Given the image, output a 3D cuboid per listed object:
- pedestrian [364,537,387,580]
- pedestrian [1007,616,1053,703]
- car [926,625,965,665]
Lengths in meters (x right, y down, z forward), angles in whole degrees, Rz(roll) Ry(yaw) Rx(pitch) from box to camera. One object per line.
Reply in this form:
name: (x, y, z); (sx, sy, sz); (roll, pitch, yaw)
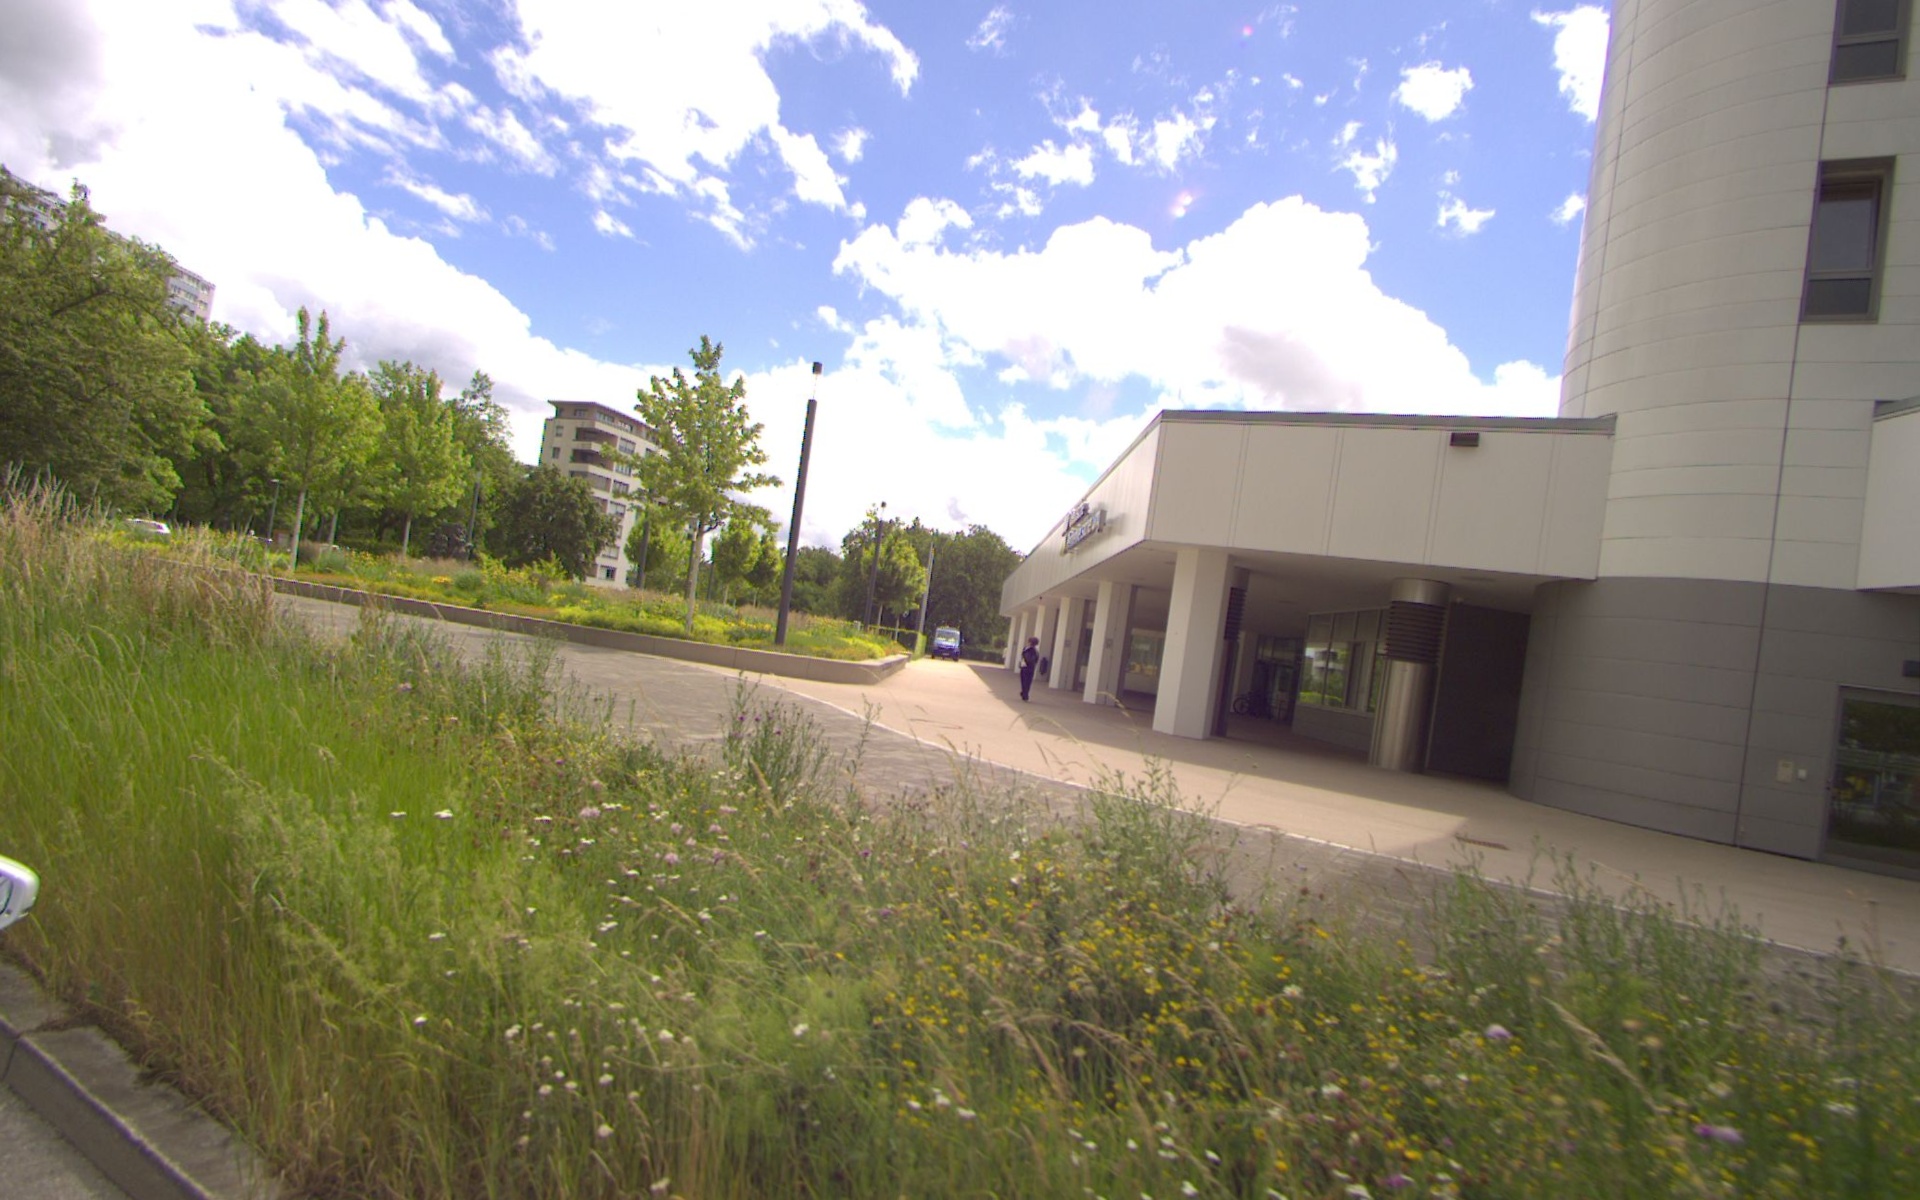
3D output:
pedestrian: (-27.649, -1.956, 47.580); (0.399, 1.973, 0.577); (7, -1, 31)
pedestrian: (1.722, 1.453, 24.717); (0.685, 2.036, 0.606); (8, -1, -18)
car: (-1.058, 3.326, 74.389); (2.406, 2.501, 4.792); (8, -2, 1)
